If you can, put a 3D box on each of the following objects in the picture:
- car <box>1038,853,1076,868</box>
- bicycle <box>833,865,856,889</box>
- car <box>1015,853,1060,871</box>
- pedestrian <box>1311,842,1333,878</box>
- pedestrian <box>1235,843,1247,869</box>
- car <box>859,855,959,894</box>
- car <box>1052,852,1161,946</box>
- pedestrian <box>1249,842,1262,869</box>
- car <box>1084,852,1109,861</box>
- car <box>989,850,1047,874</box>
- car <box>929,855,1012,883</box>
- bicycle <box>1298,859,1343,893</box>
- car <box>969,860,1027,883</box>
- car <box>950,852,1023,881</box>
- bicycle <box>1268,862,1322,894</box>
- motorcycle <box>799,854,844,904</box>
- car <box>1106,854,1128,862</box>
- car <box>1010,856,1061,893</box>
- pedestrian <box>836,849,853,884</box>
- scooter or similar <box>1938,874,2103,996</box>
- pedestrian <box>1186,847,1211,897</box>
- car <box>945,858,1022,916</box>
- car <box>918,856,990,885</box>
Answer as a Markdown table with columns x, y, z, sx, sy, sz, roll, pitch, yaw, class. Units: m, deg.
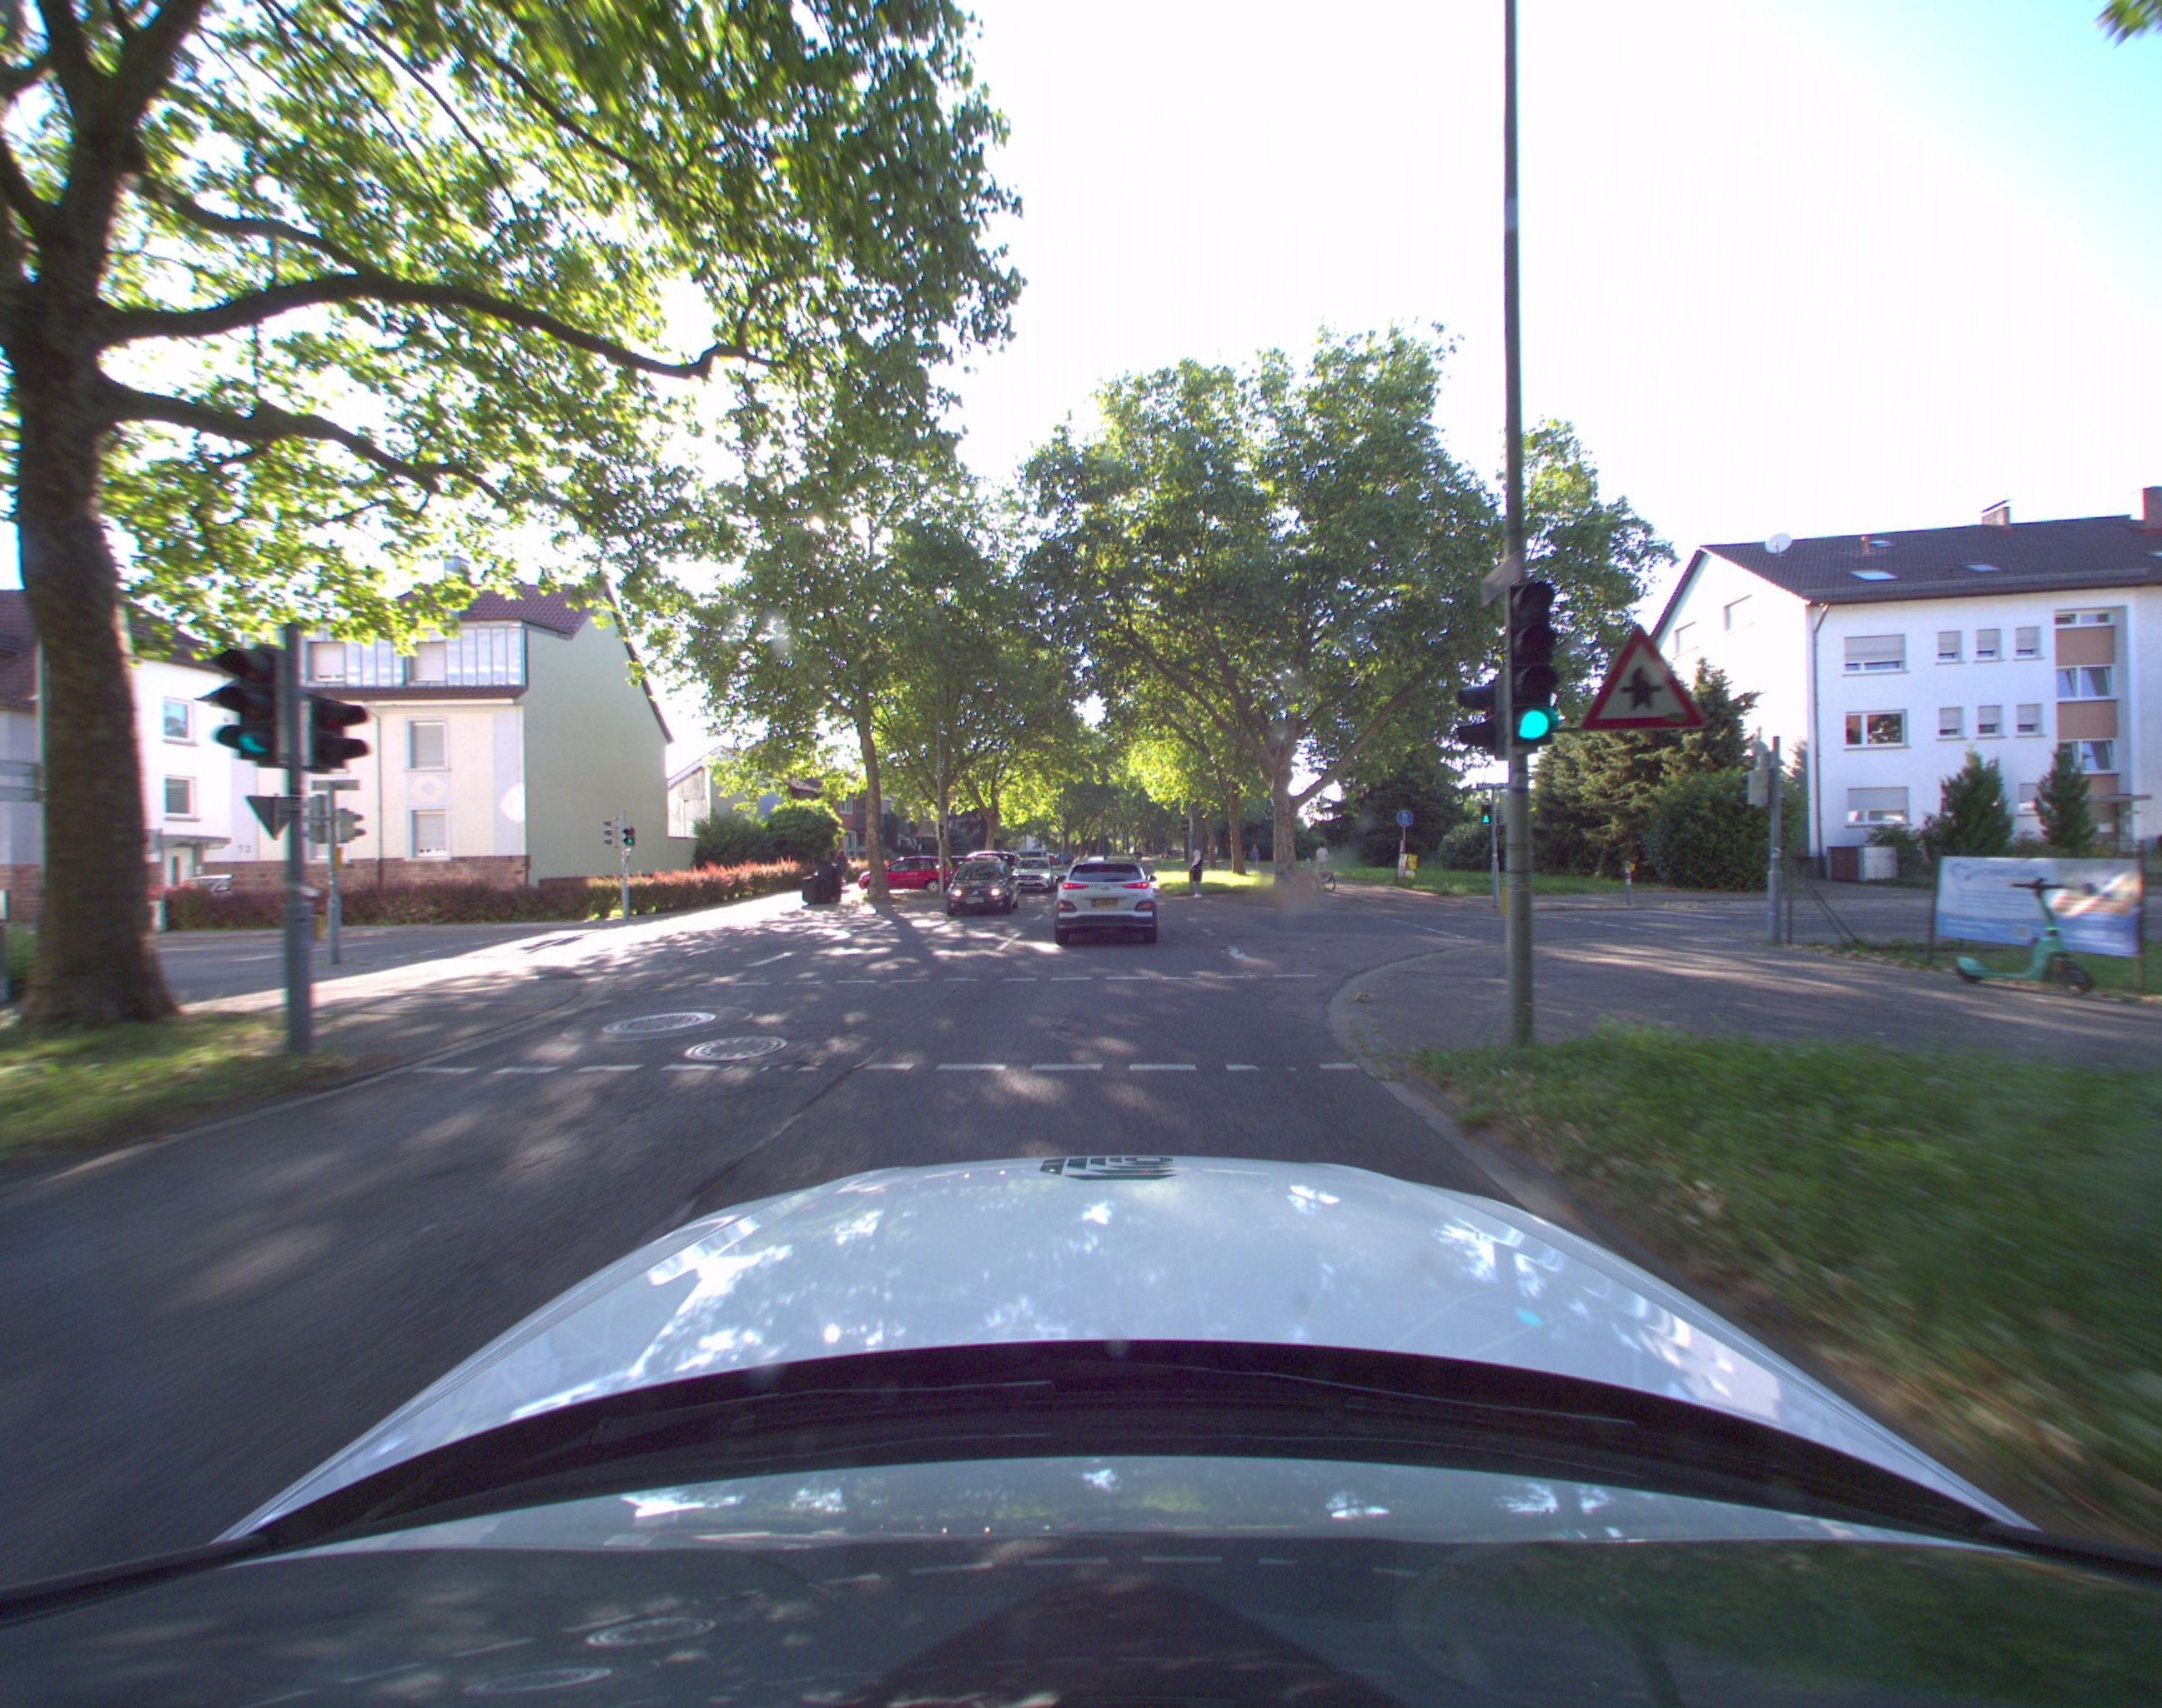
| x | y | z | sx | sy | sz | roll | pitch | yaw | class |
| --- | --- | --- | --- | --- | --- | --- | --- | --- | --- |
| -2.555 | 0.696 | 87.563 | 3.973 | 1.518 | 1.818 | 0 | 0 | 1 | car |
| -10.770 | 1.016 | 37.114 | 0.508 | 1.042 | 2.150 | -1 | -1 | -3 | bicycle |
| -3.946 | 0.705 | 73.756 | 3.857 | 1.518 | 1.666 | -1 | 0 | 1 | car |
| 11.554 | 0.288 | 39.020 | 0.776 | 1.649 | 0.939 | -2 | 0 | 2 | pedestrian |
| 11.240 | 0.125 | 57.346 | 0.757 | 1.846 | 0.789 | -1 | 0 | 6 | pedestrian |
| -7.143 | 0.842 | 34.068 | 3.751 | 1.535 | 1.832 | 0 | 0 | 0 | car |
| 0.463 | 0.774 | 15.774 | 1.829 | 1.555 | 4.000 | -1 | 0 | 1 | car |
| 12.242 | 0.117 | 57.183 | 0.750 | 1.847 | 0.804 | -1 | 0 | 6 | pedestrian |
| 2.411 | 0.360 | 125.645 | 3.806 | 1.316 | 1.793 | 1 | 1 | 6 | car |
| -4.897 | 0.627 | 63.815 | 4.369 | 1.824 | 1.996 | 0 | 0 | 1 | car |
| -5.907 | 0.784 | 43.940 | 4.147 | 1.501 | 1.876 | 0 | 0 | 1 | car |
| 8.339 | 0.741 | 28.482 | 0.446 | 1.082 | 1.996 | -3 | 2 | -17 | bicycle |
| -5.563 | 1.158 | 54.863 | 3.626 | 1.517 | 1.783 | 0 | 0 | 3 | car |
| -5.622 | 0.746 | 48.862 | 4.075 | 1.716 | 1.833 | 0 | 0 | 2 | car |
| 7.242 | 0.820 | 27.596 | 1.698 | 1.035 | 0.449 | -1 | 2 | 38 | bicycle |
| -9.345 | 0.871 | 29.390 | 0.978 | 1.637 | 2.386 | -1 | 2 | -5 | motorcycle |
| 7.239 | 0.822 | 163.010 | 4.163 | 1.584 | 2.003 | 0 | 0 | 4 | car |
| -1.906 | 0.837 | 35.401 | 1.709 | 1.501 | 4.098 | 0 | 0 | 4 | car |
| -10.790 | 0.580 | 37.141 | 0.508 | 1.532 | 1.032 | -1 | -2 | -4 | pedestrian |
| 10.215 | 0.844 | 8.911 | 0.381 | 1.196 | 1.255 | 0 | 0 | 1 | scooter or similar |
| 4.205 | 0.629 | 29.246 | 0.633 | 1.719 | 0.824 | -3 | 0 | -5 | pedestrian |
| -2.691 | 0.876 | 23.247 | 1.721 | 1.464 | 4.067 | -1 | 0 | -1 | car |
| -6.446 | 0.828 | 41.565 | 3.327 | 1.480 | 1.696 | 0 | 0 | 1 | car |
